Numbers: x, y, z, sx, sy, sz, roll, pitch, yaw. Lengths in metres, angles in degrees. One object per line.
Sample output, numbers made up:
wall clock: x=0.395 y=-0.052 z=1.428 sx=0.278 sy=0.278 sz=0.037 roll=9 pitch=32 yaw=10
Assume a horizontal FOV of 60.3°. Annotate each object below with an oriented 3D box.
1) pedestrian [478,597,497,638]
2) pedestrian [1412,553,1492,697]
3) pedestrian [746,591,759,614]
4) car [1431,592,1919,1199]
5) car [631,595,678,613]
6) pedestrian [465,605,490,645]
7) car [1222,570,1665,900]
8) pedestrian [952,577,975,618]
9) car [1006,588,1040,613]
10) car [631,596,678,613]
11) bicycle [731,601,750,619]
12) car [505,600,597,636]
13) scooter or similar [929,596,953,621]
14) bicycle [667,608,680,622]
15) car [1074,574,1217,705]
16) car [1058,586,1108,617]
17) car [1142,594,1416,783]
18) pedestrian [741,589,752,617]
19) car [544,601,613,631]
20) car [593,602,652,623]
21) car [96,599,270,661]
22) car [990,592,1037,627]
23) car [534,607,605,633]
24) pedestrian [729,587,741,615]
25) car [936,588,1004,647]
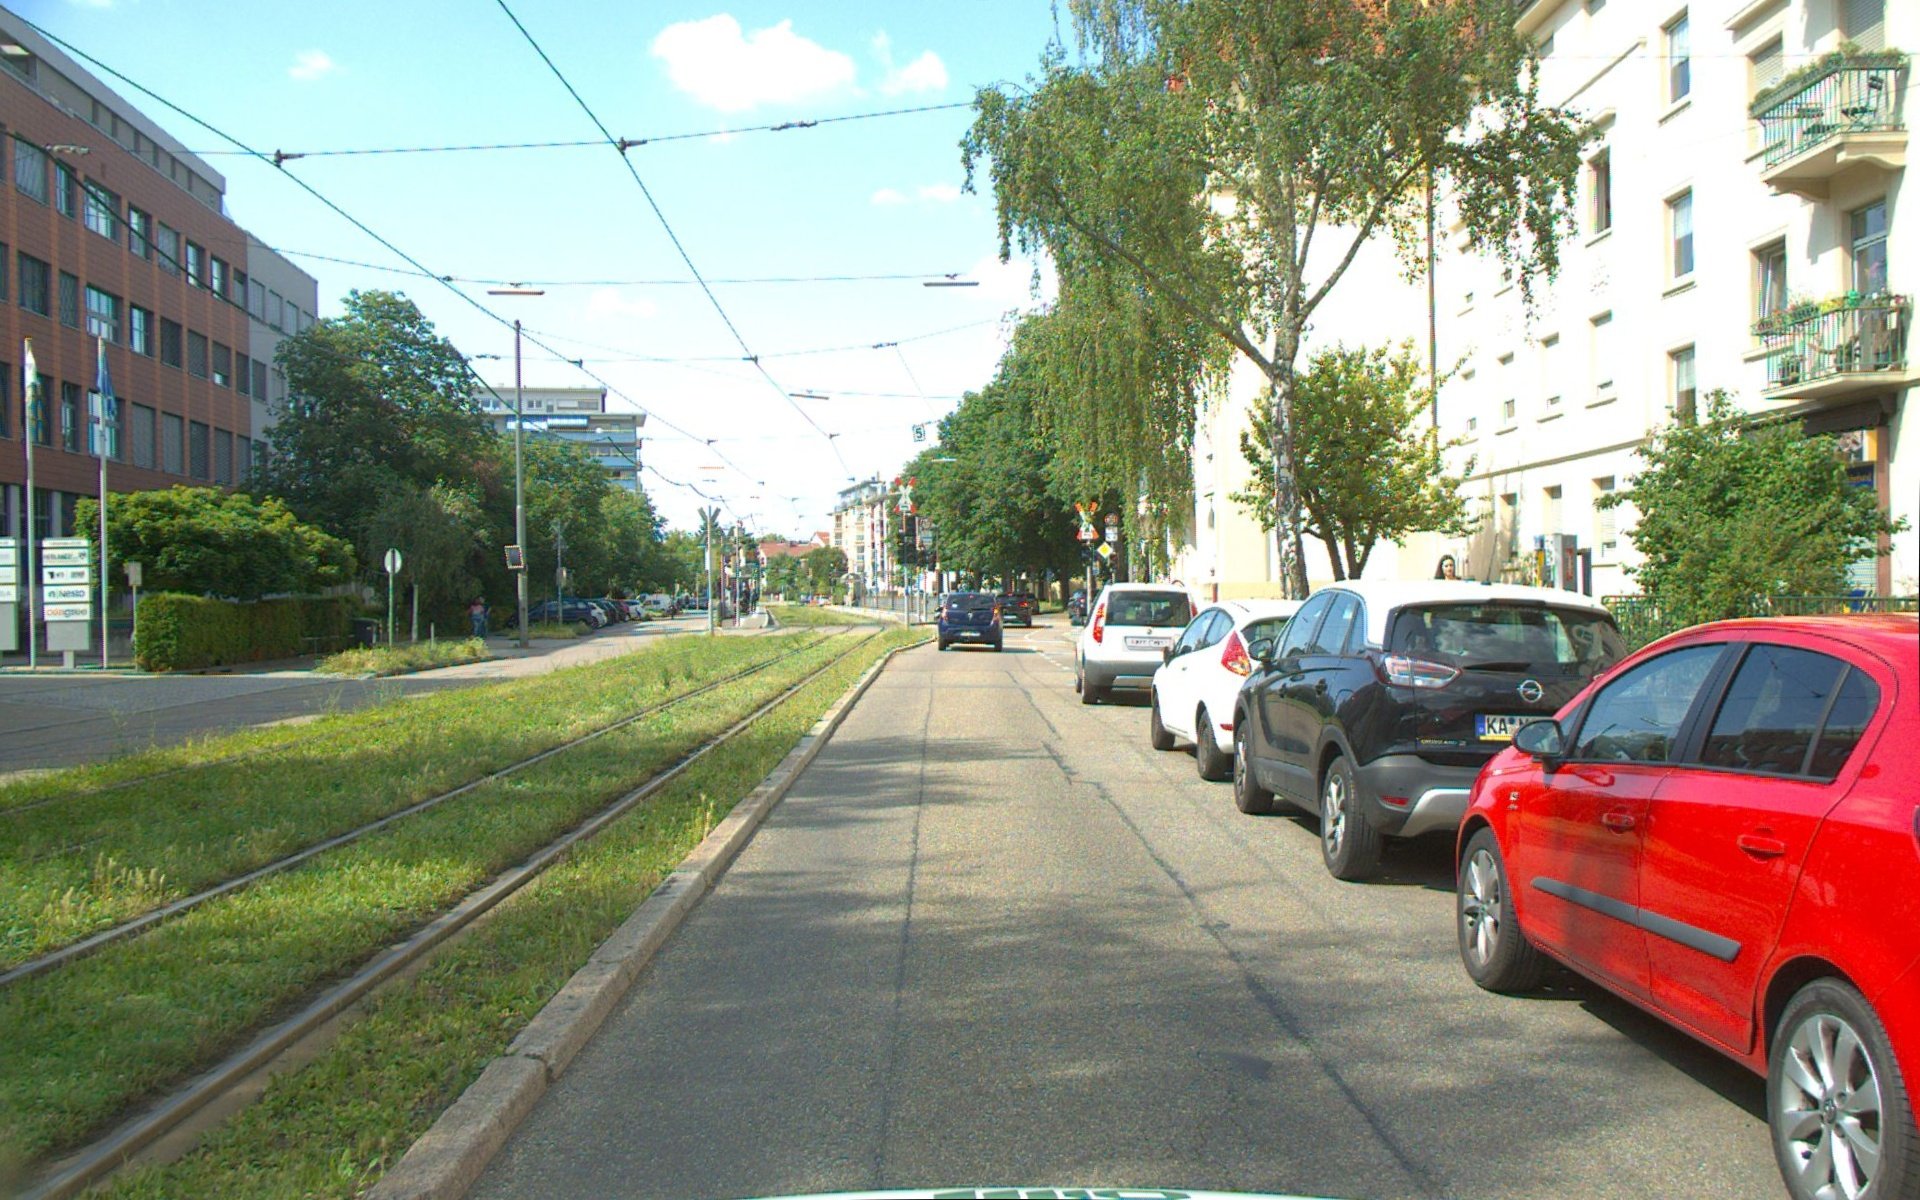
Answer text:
pedestrian: x=-20.127 y=0.742 z=70.498 sx=0.545 sy=1.686 sz=0.747 roll=-1 pitch=0 yaw=2
pedestrian: x=6.049 y=0.302 z=20.359 sx=0.715 sy=1.712 sz=0.691 roll=-3 pitch=0 yaw=2
pedestrian: x=-13.575 y=0.179 z=108.214 sx=0.642 sy=1.451 sz=0.562 roll=-2 pitch=0 yaw=31
car: x=2.851 y=0.751 z=5.221 sx=1.557 sy=1.478 sz=3.844 roll=2 pitch=0 yaw=-1
car: x=-27.836 y=0.363 z=150.737 sx=3.964 sy=1.472 sz=1.702 roll=-1 pitch=0 yaw=-41
pedestrian: x=-19.861 y=1.036 z=68.059 sx=0.730 sy=1.601 sz=0.889 roll=-1 pitch=-1 yaw=2
car: x=2.693 y=0.661 z=10.056 sx=1.463 sy=1.607 sz=3.758 roll=1 pitch=0 yaw=-2
pedestrian: x=0.158 y=-0.098 z=75.321 sx=0.854 sy=1.806 sz=1.002 roll=-3 pitch=0 yaw=-6
car: x=3.931 y=0.034 z=103.230 sx=1.823 sy=1.470 sz=3.999 roll=-3 pitch=0 yaw=-1
car: x=-26.841 y=0.409 z=145.450 sx=1.608 sy=1.410 sz=3.982 roll=-1 pitch=0 yaw=38
bicycle: x=-12.651 y=0.574 z=95.269 sx=0.672 sy=0.991 sz=1.772 roll=-4 pitch=0 yaw=4
car: x=-19.980 y=0.871 z=80.923 sx=1.696 sy=1.669 sz=4.104 roll=-1 pitch=0 yaw=44
scooter or similar: x=-0.858 y=0.388 z=74.954 sx=0.936 sy=1.083 sz=0.796 roll=-3 pitch=0 yaw=-7
bicycle: x=-22.061 y=1.139 z=127.245 sx=0.667 sy=0.988 sz=2.177 roll=-2 pitch=0 yaw=-3
car: x=2.536 y=0.501 z=23.386 sx=1.685 sy=1.658 sz=4.001 roll=1 pitch=0 yaw=2
car: x=6.114 y=0.085 z=82.730 sx=1.732 sy=1.458 sz=3.898 roll=-2 pitch=0 yaw=-7
car: x=2.726 y=0.698 z=14.940 sx=1.639 sy=1.441 sz=3.794 roll=2 pitch=0 yaw=-1
pedestrian: x=-13.869 y=0.201 z=107.448 sx=0.591 sy=1.797 sz=0.639 roll=-1 pitch=0 yaw=3
car: x=-20.847 y=0.880 z=90.406 sx=3.364 sy=1.531 sz=1.519 roll=-1 pitch=0 yaw=-44
car: x=-24.538 y=0.878 z=120.400 sx=1.686 sy=1.391 sz=3.976 roll=-2 pitch=0 yaw=42
car: x=-21.724 y=0.825 z=46.344 sx=3.908 sy=1.624 sz=1.999 roll=-1 pitch=0 yaw=-4
car: x=2.188 y=0.368 z=68.431 sx=1.666 sy=1.392 sz=3.513 roll=1 pitch=0 yaw=-2
car: x=-20.516 y=1.050 z=86.985 sx=1.518 sy=1.258 sz=3.366 roll=-1 pitch=0 yaw=44
pedestrian: x=-13.855 y=0.048 z=102.021 sx=0.642 sy=1.722 sz=0.655 roll=-2 pitch=0 yaw=-6
car: x=0.284 y=0.438 z=44.091 sx=1.731 sy=1.487 sz=3.776 roll=-1 pitch=0 yaw=1
